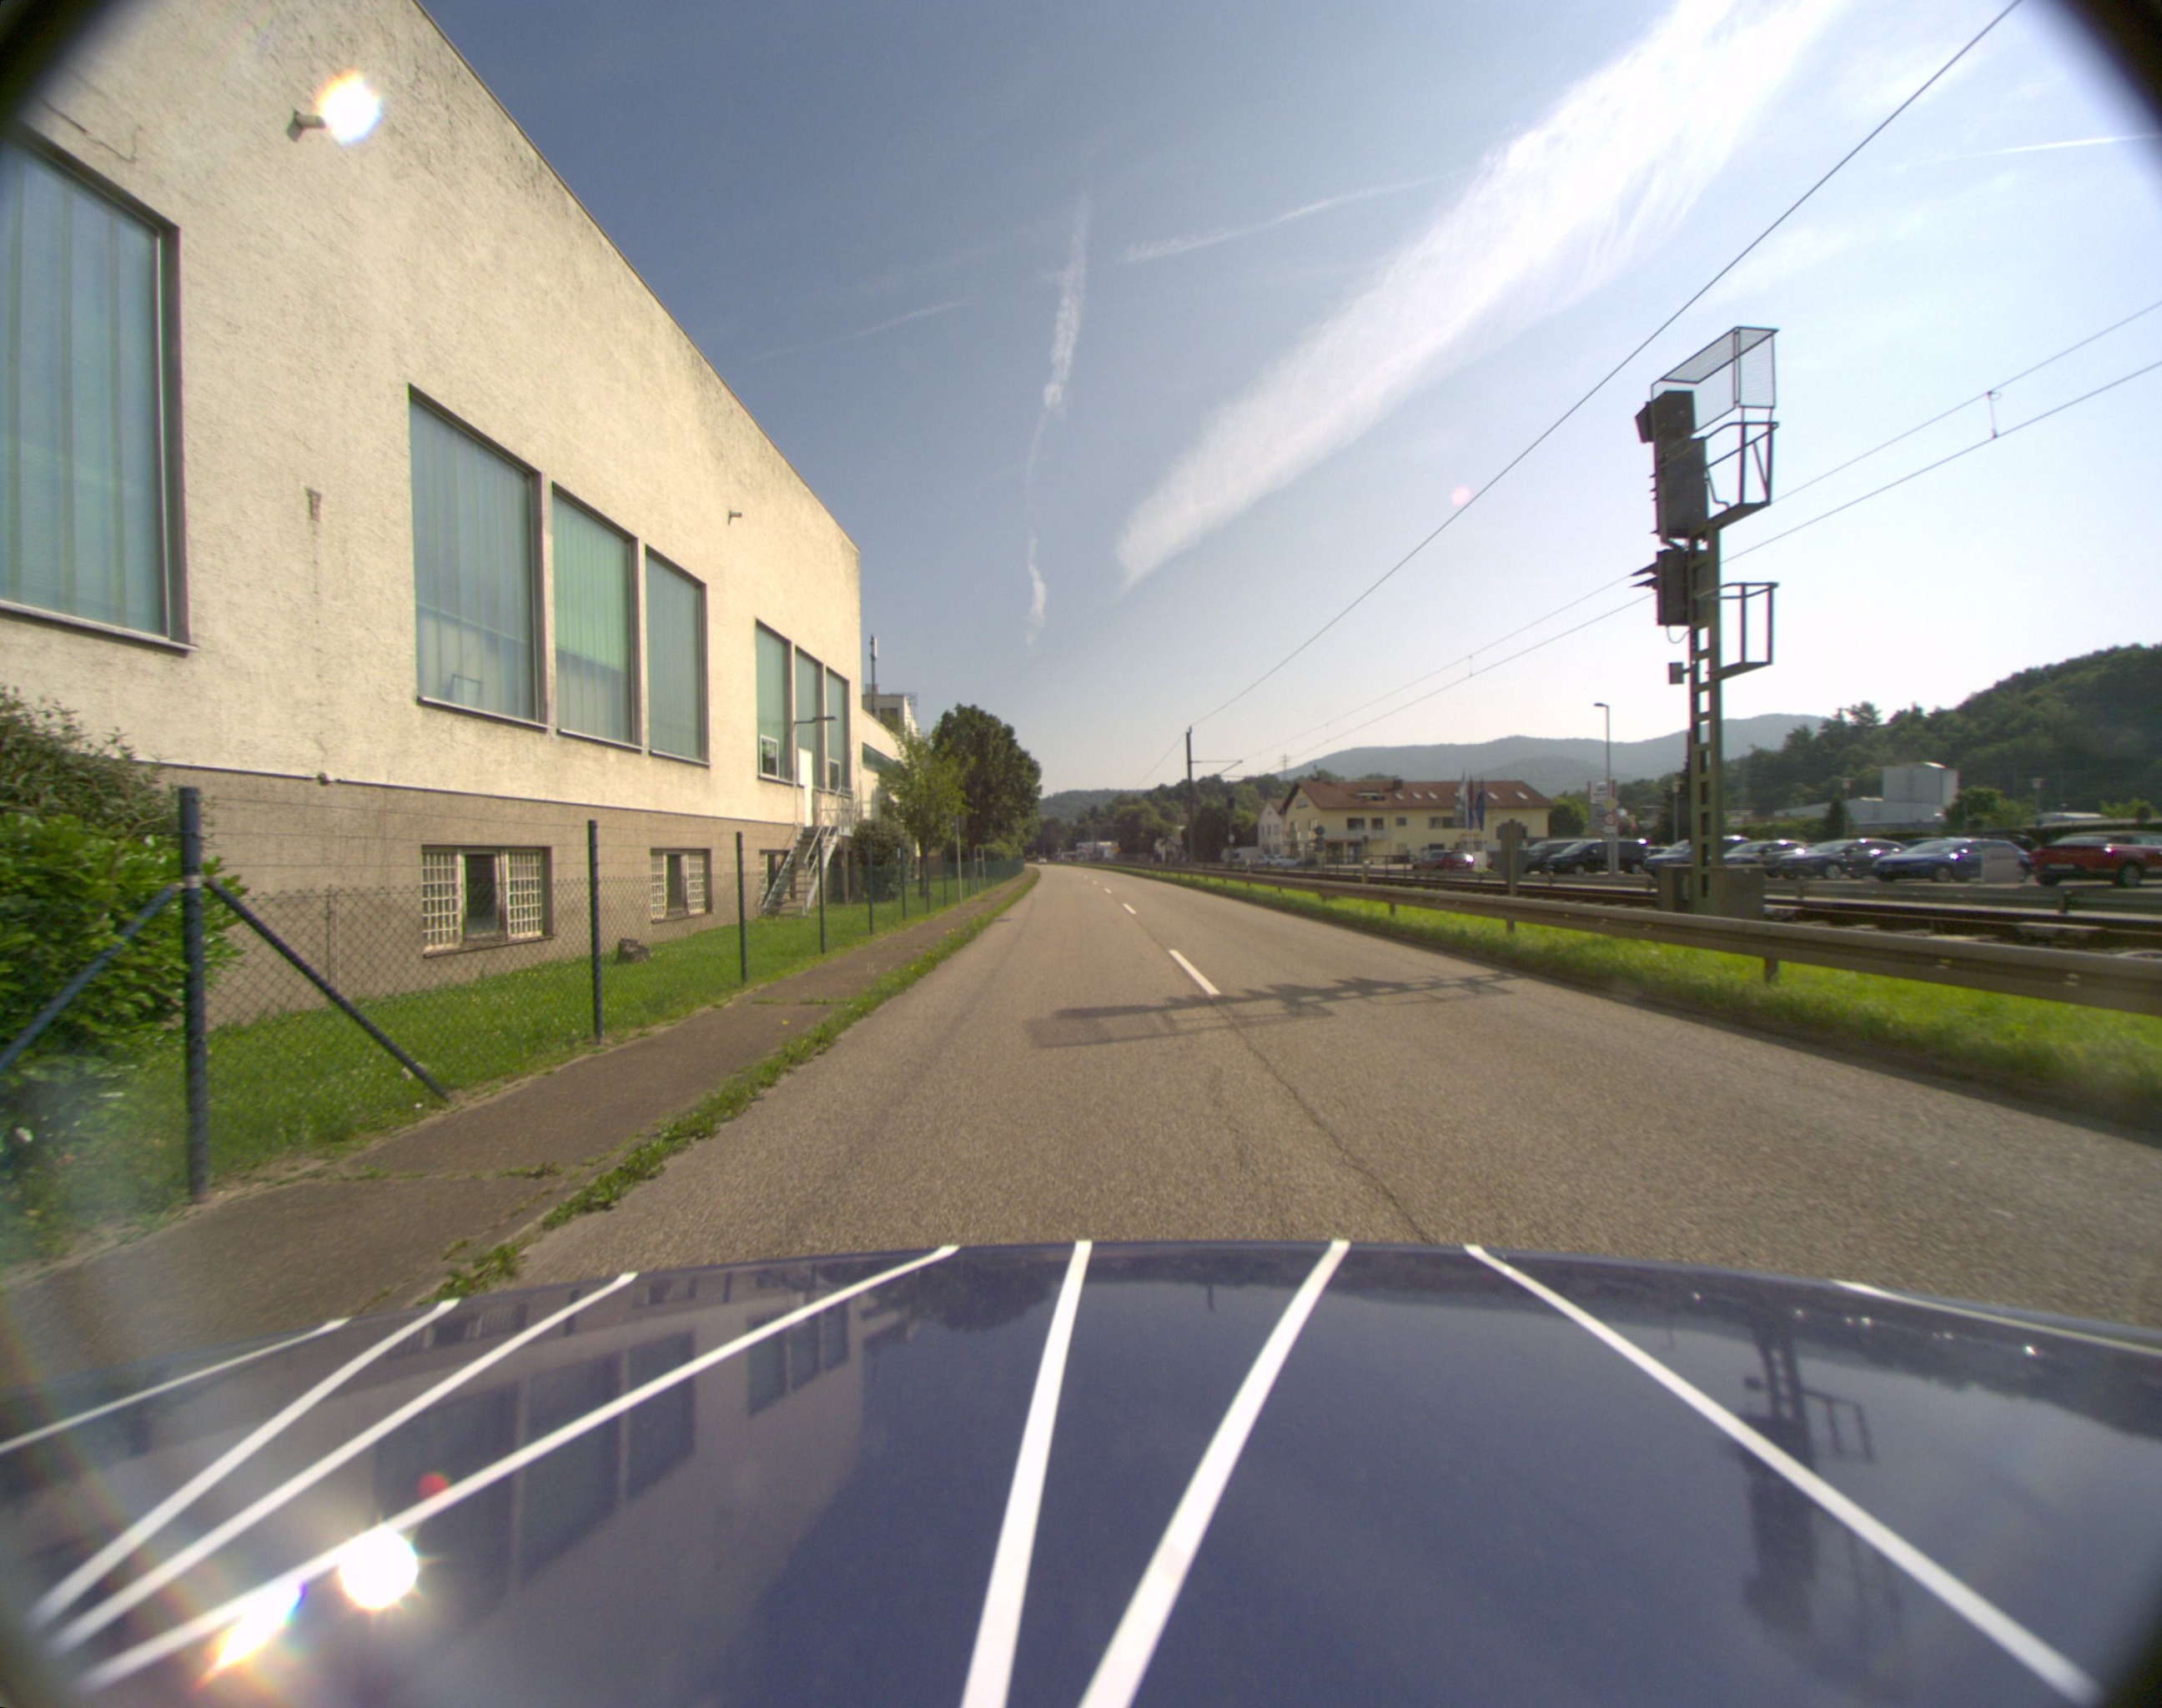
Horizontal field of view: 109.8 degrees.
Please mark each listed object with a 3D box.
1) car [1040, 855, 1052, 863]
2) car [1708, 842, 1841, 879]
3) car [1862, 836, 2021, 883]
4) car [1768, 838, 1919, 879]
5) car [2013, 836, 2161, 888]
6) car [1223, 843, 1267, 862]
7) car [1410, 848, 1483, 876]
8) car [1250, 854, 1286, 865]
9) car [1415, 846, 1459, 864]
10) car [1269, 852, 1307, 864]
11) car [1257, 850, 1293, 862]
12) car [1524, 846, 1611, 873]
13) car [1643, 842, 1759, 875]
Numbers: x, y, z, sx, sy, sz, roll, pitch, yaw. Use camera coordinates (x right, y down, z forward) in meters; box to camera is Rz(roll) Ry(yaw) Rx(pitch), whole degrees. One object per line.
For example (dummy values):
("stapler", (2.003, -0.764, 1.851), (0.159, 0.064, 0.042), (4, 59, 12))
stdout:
("car", (-7.878, 1.094, 171.106), (2.000, 1.696, 3.996), (-1, 0, -11))
("car", (29.079, 0.261, 31.932), (3.997, 1.451, 1.760), (-1, 0, 0))
("car", (28.878, 0.169, 25.541), (4.001, 1.451, 1.759), (-1, 0, -11))
("car", (28.849, 0.164, 28.822), (3.997, 1.451, 1.760), (-1, 0, 0))
("car", (29.030, 0.203, 21.243), (3.999, 1.367, 1.860), (-1, 0, -6))
("car", (22.893, -0.198, 106.326), (5.587, 2.403, 2.236), (-1, 0, -3))
("car", (20.509, 0.424, 42.784), (1.861, 1.451, 3.998), (-1, 0, -6))
("car", (22.881, 0.647, 92.937), (3.857, 1.292, 1.648), (-1, 0, -5))
("car", (32.947, 0.117, 70.436), (3.539, 1.567, 1.651), (-1, 0, 20))
("car", (23.830, 0.443, 87.384), (3.857, 1.292, 1.648), (-1, 0, -5))
("car", (22.990, 0.206, 90.122), (3.857, 1.292, 1.648), (-1, 0, -5))
("car", (28.255, 0.307, 44.205), (3.997, 1.451, 1.760), (-1, 0, 0))
("car", (28.887, 0.186, 35.495), (3.997, 1.451, 1.760), (-1, 0, 0))
